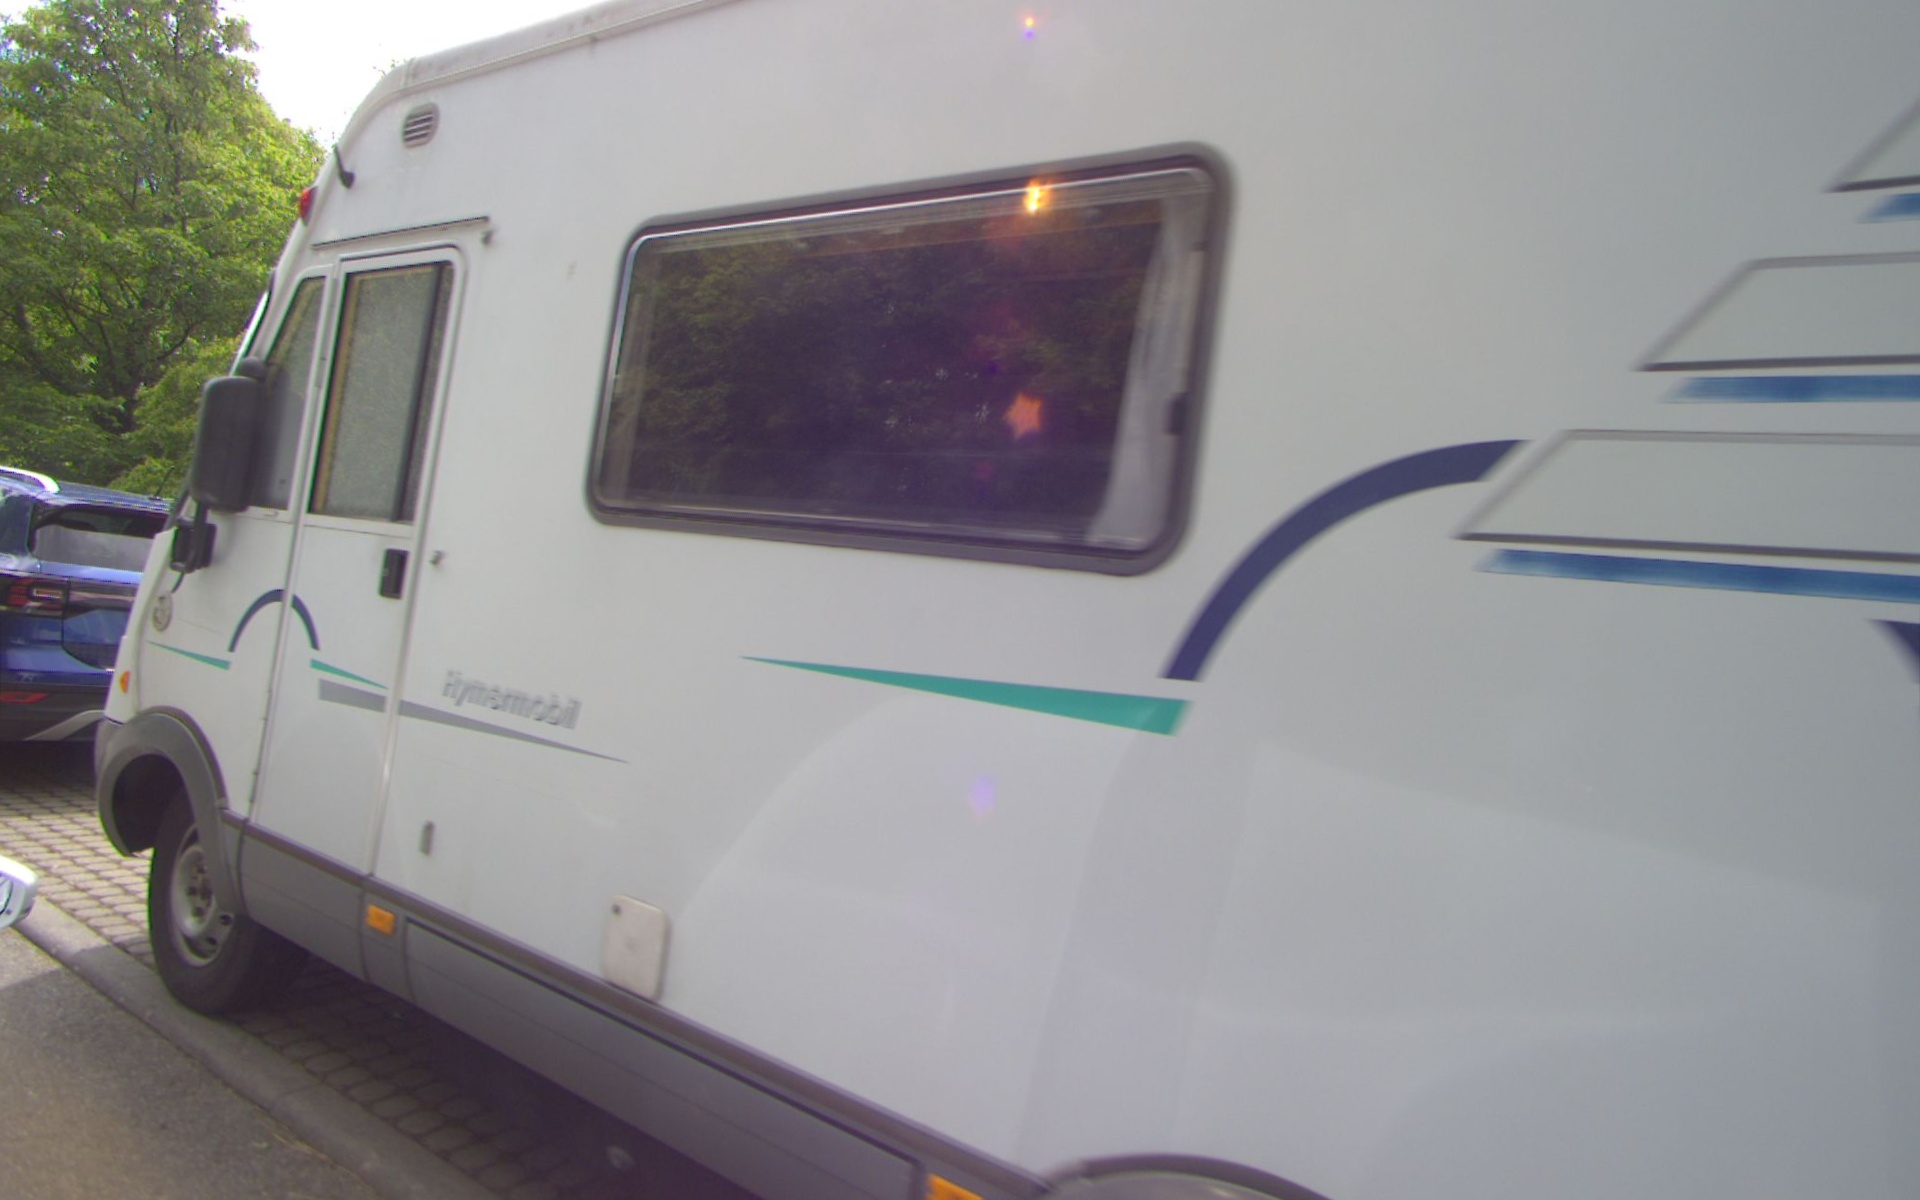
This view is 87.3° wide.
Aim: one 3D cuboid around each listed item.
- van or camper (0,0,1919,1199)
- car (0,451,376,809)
[{"bbox_3d":[0.222,0.101,2.594,6.048,2.900,2.339,7,-3,32],"label":"van or camper"},{"bbox_3d":[-5.708,0.027,6.120,3.930,1.608,1.717,7,-3,28],"label":"car"}]
